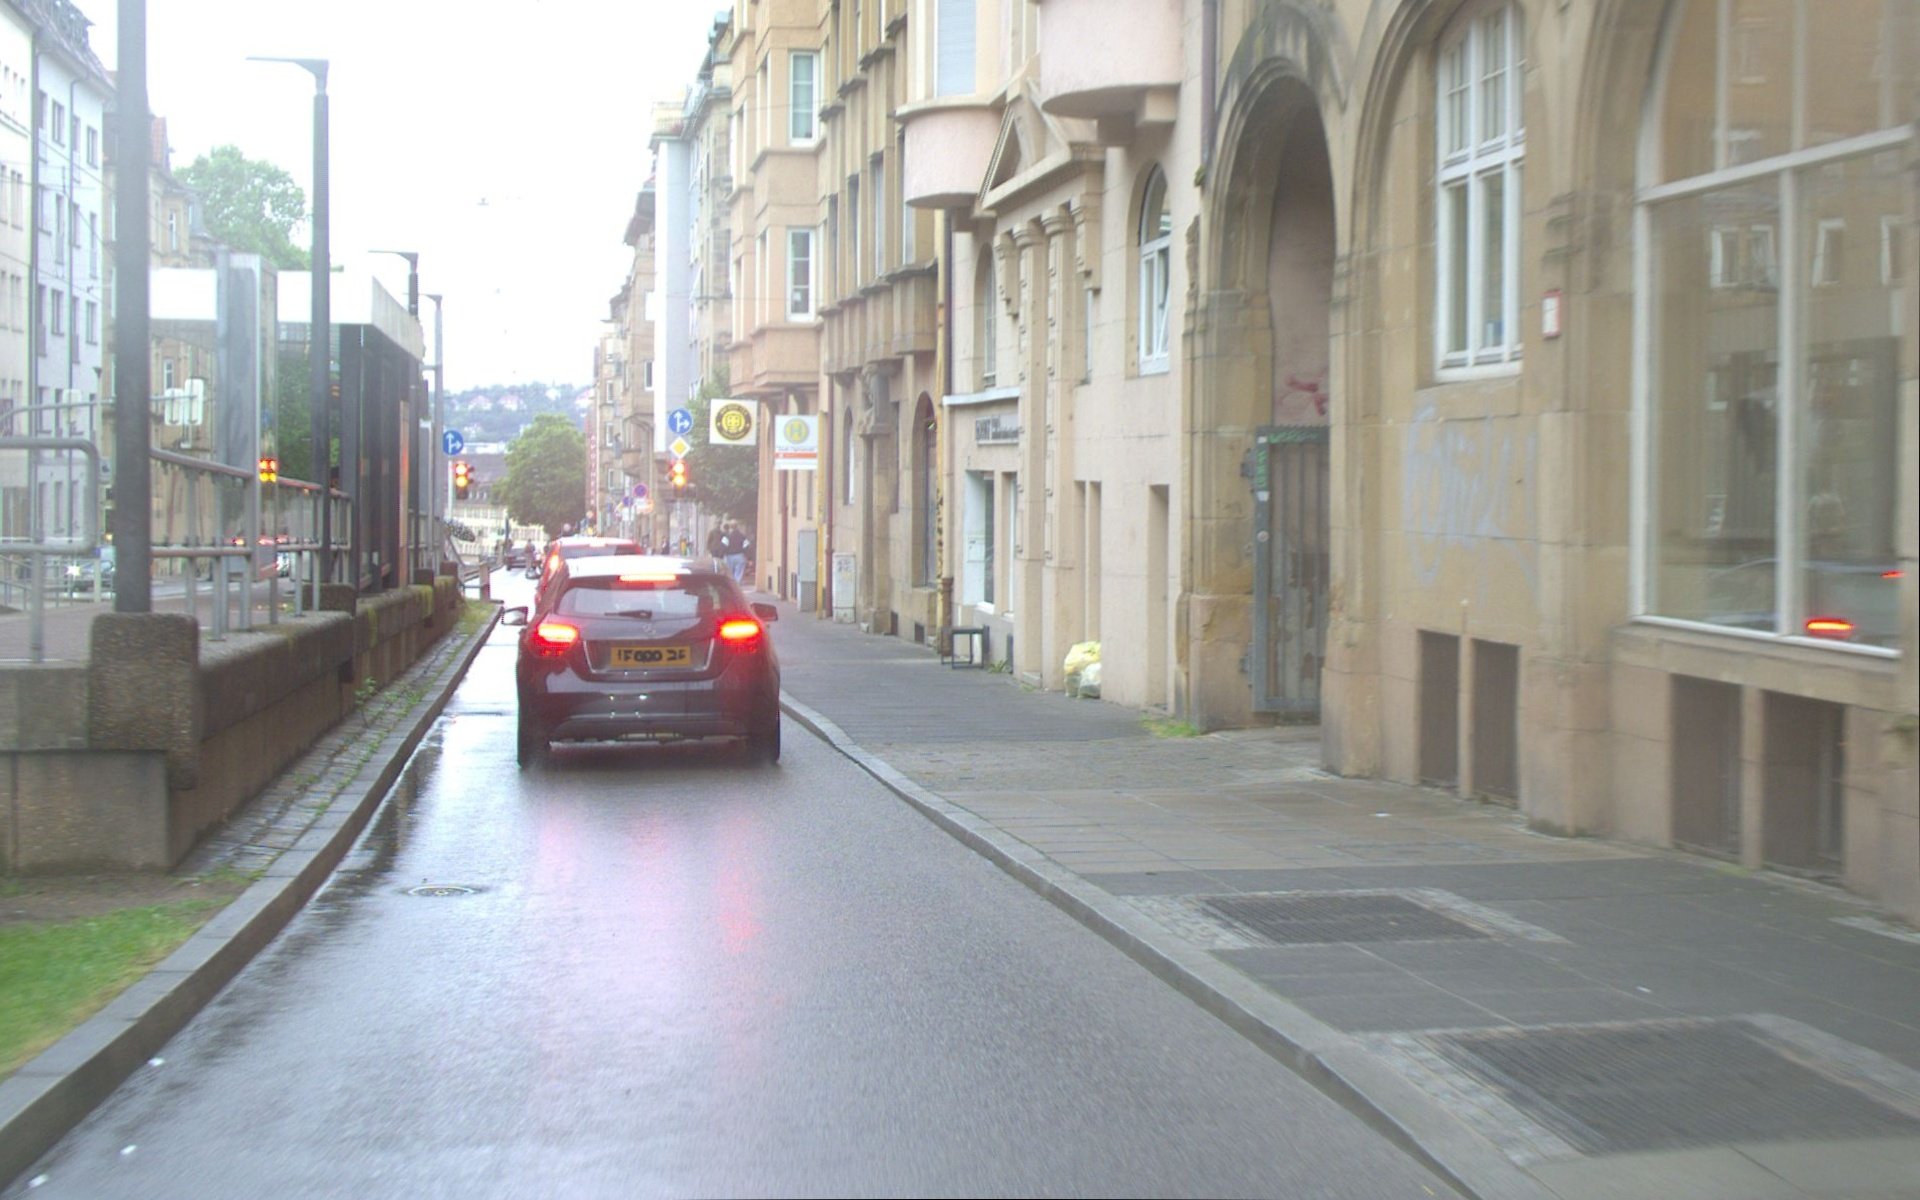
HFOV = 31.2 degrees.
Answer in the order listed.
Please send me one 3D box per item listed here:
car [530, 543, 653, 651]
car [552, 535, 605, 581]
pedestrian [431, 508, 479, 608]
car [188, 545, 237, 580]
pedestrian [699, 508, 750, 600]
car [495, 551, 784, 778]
[{"bbox_3d":[-5.168,-0.073,48.529,1.649,1.447,4.001,0,1,-5],"label":"car"},{"bbox_3d":[-13.442,-1.488,120.947,1.765,1.553,4.746,-2,1,-7],"label":"car"},{"bbox_3d":[-10.149,-0.847,69.110,0.926,2.007,0.947,0,1,-7],"label":"pedestrian"},{"bbox_3d":[-34.404,-1.726,158.293,1.722,1.536,3.934,-2,1,-5],"label":"car"},{"bbox_3d":[-4.856,-0.948,70.815,0.899,1.834,0.968,-4,1,-5],"label":"pedestrian"},{"bbox_3d":[-2.257,0.389,24.347,1.866,1.447,4.001,0,1,-5],"label":"car"}]
